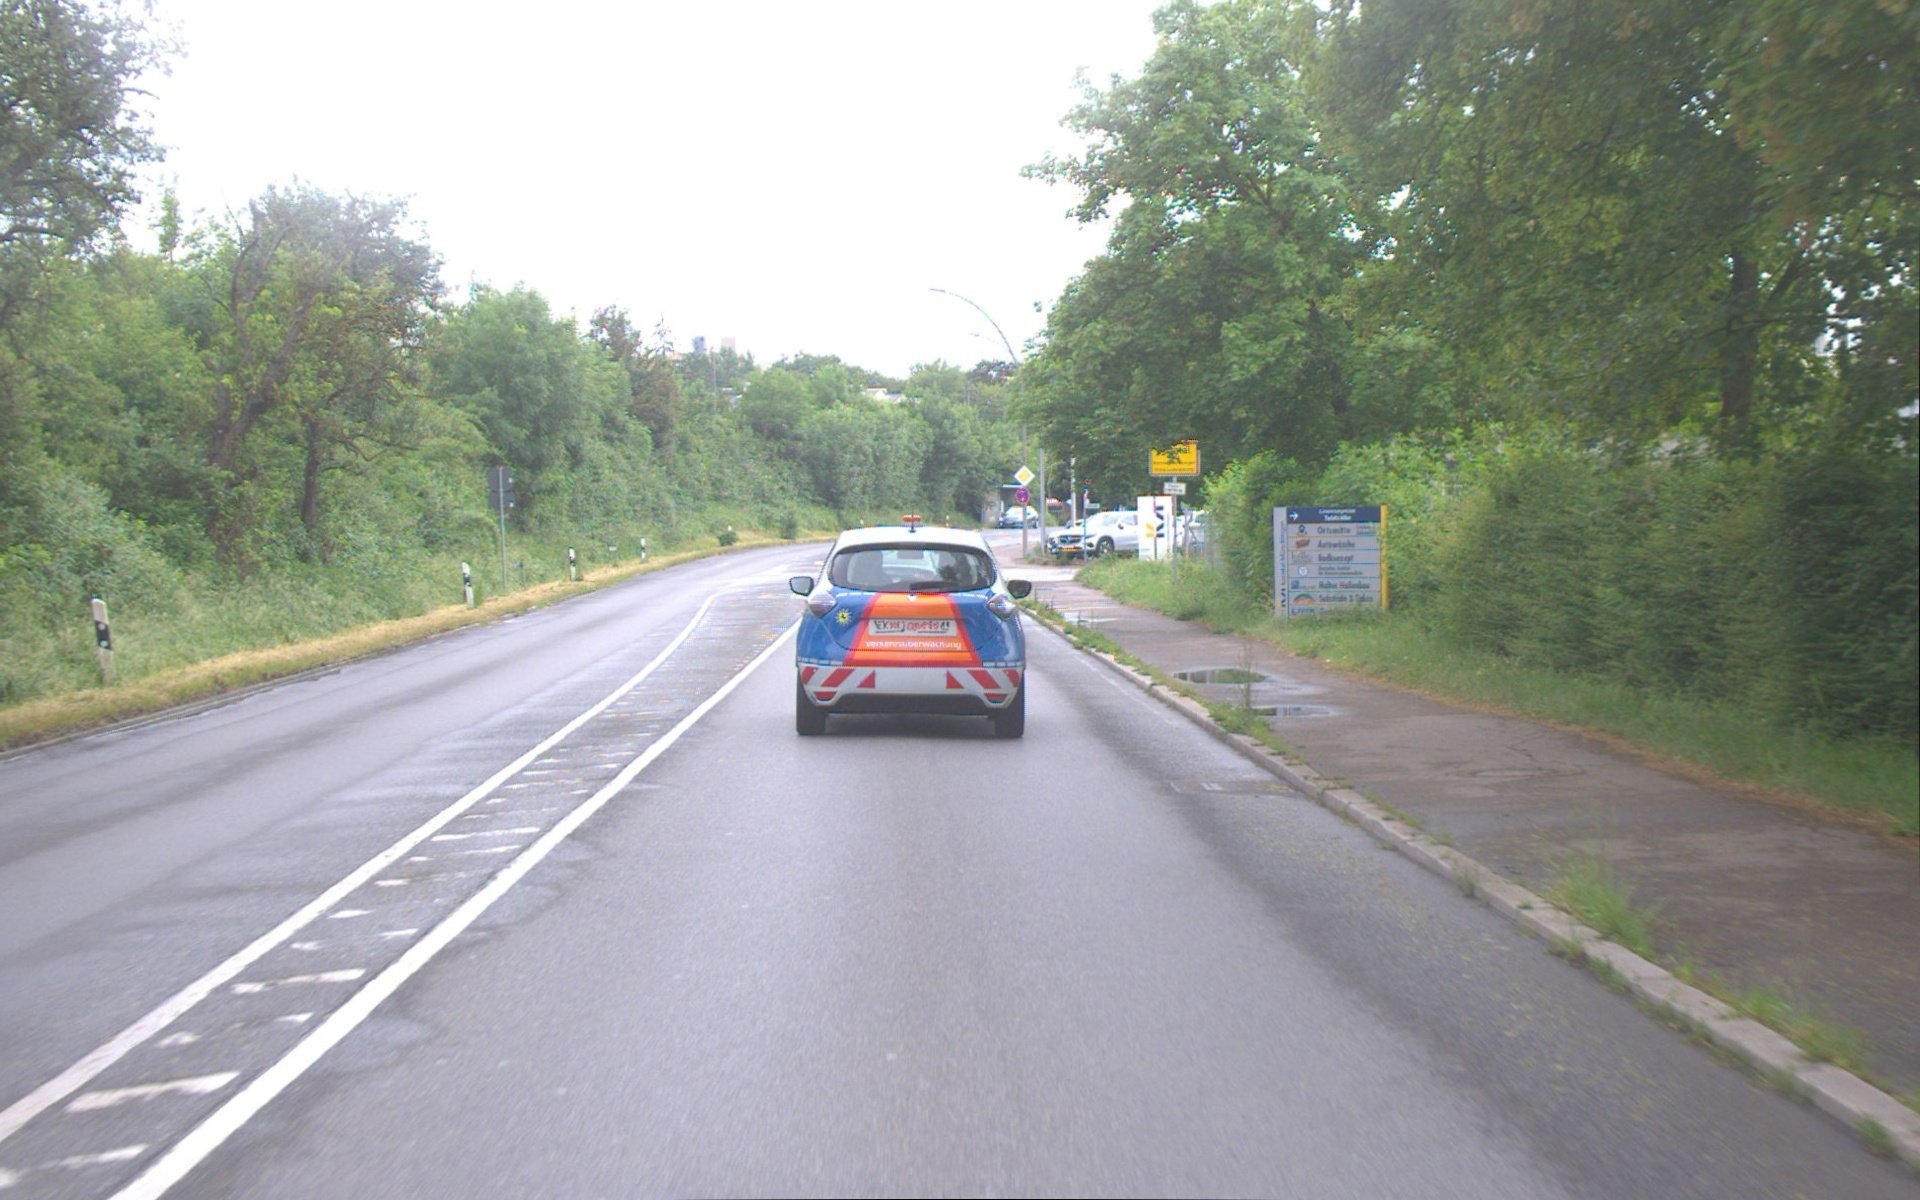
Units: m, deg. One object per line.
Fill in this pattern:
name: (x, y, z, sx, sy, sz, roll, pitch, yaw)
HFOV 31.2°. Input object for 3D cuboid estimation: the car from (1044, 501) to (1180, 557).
car: (5.196, -2.414, 116.981, 2.034, 1.745, 4.606, 2, 1, 45)

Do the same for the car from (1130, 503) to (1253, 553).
car: (8.243, -2.557, 121.942, 1.930, 1.745, 4.607, 2, 2, 42)

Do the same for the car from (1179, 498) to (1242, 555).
car: (8.313, -2.436, 114.379, 1.826, 1.823, 4.264, 2, 1, 2)

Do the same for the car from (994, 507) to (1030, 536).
car: (3.480, -5.269, 231.005, 1.695, 1.784, 3.854, 2, 1, 12)

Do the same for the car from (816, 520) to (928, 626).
car: (-1.399, -0.436, 54.981, 1.694, 1.590, 3.856, 2, 1, -1)

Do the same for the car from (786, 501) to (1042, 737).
car: (-0.375, 0.111, 26.809, 1.806, 1.662, 3.856, 2, 1, -1)
